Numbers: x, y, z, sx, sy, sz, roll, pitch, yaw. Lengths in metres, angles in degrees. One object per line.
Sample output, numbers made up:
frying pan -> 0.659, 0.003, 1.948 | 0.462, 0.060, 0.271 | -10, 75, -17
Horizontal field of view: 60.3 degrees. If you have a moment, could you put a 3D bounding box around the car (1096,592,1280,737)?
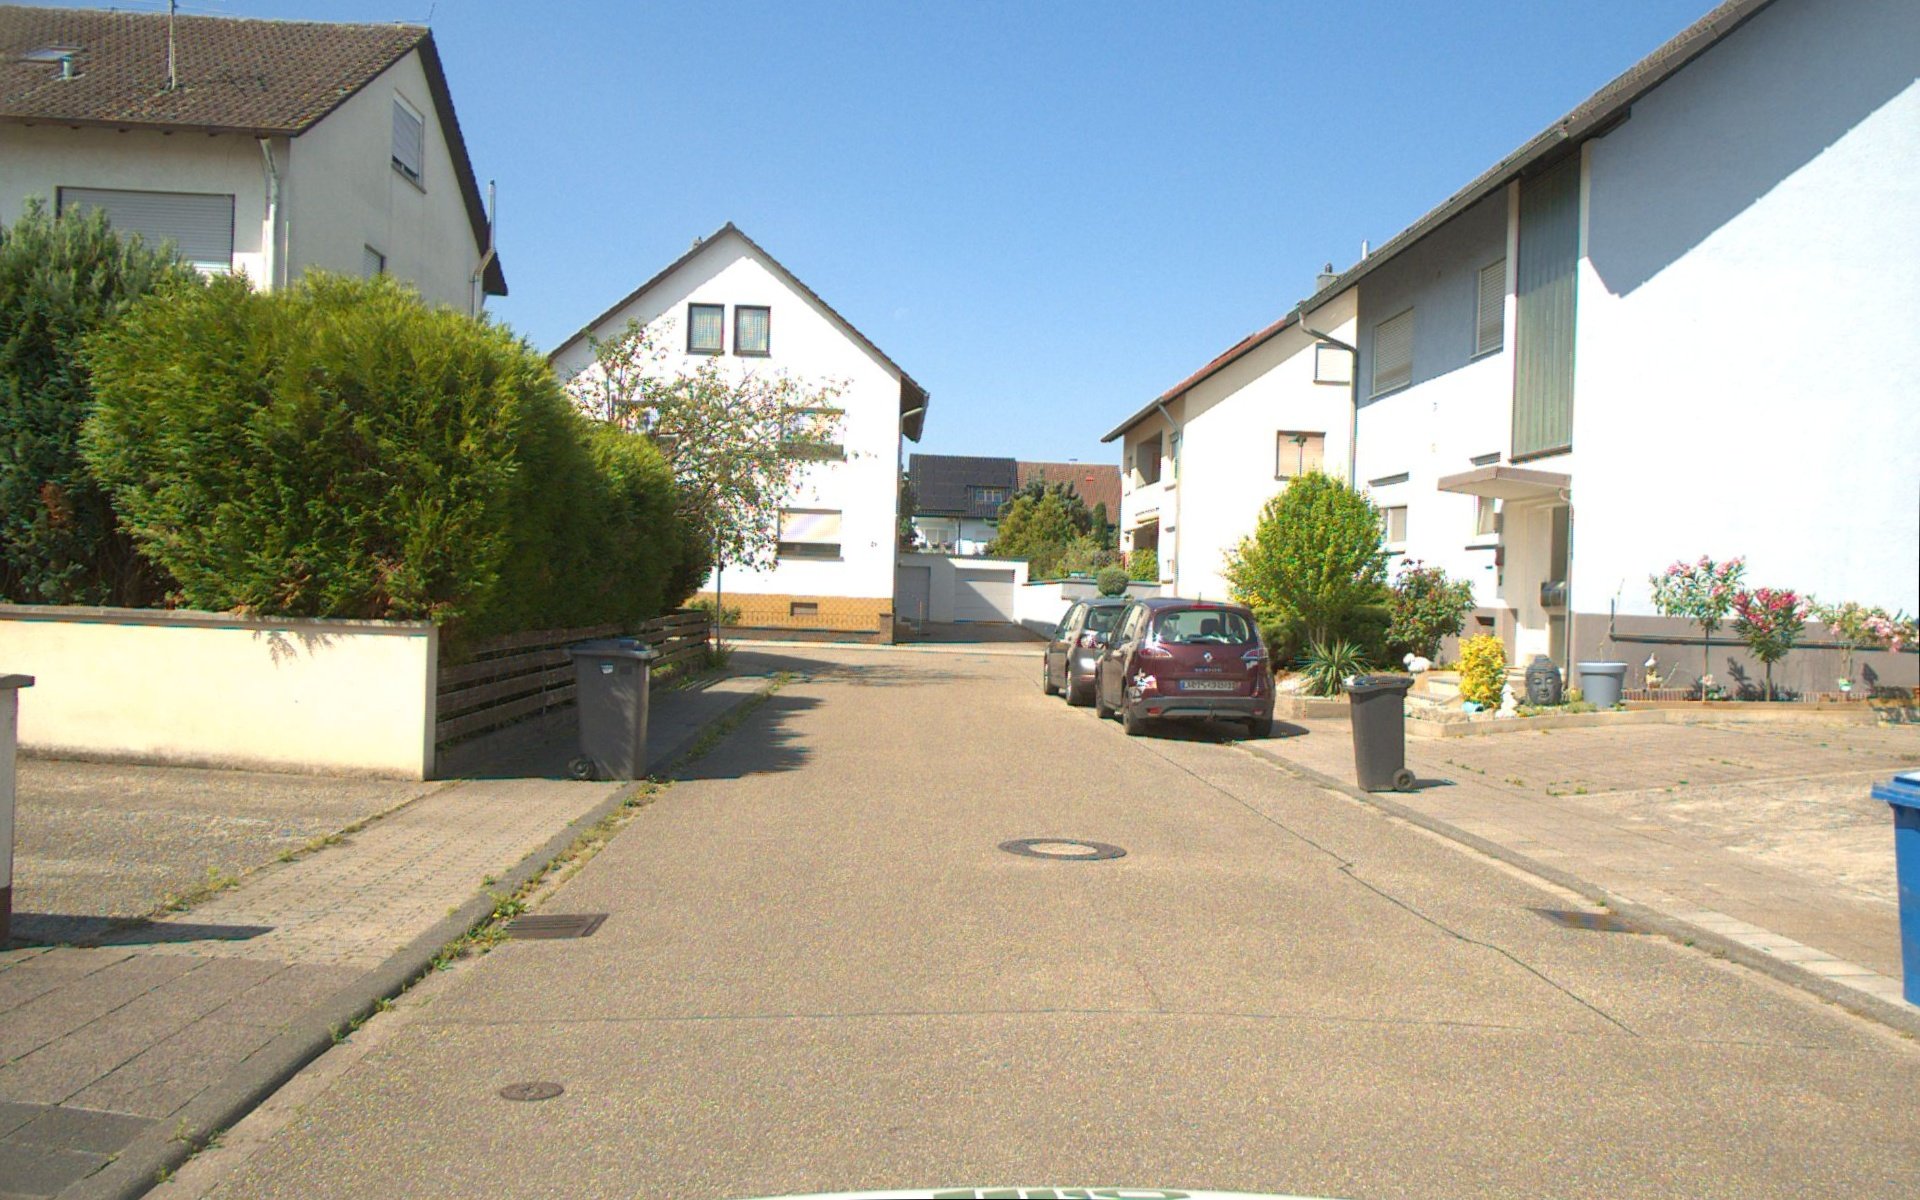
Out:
car -> 2.785, 0.732, 21.009 | 1.612, 1.609, 4.146 | 1, 0, -2

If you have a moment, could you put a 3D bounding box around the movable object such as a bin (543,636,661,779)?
movable object such as a bin -> -2.826, 0.839, 13.097 | 0.802, 1.082, 0.610 | 1, 0, -3

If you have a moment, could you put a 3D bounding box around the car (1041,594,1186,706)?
car -> 2.327, 0.724, 25.987 | 1.612, 1.573, 4.044 | 1, 0, -4
